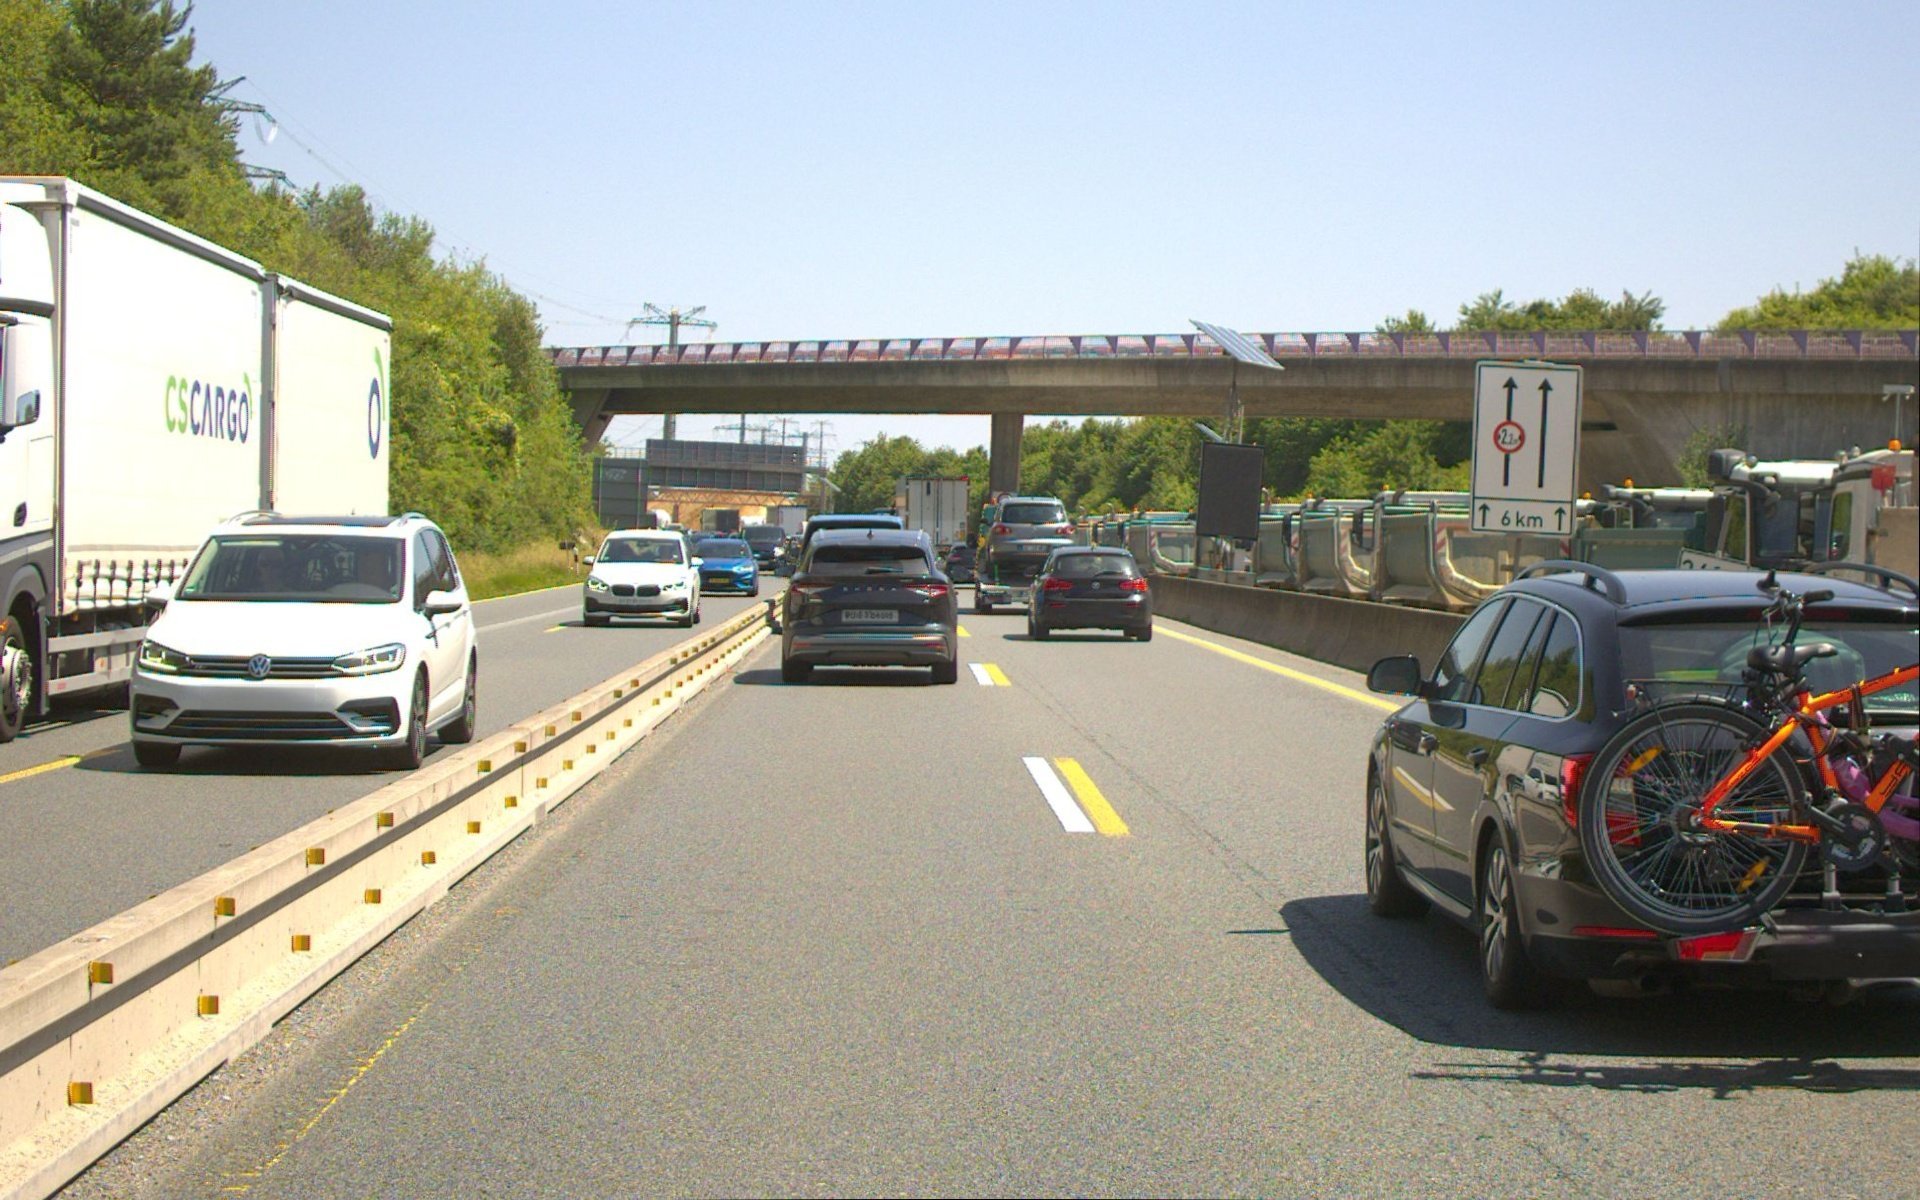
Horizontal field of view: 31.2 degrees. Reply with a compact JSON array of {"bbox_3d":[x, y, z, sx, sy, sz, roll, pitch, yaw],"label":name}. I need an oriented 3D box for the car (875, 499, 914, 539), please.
[{"bbox_3d":[-3.358,-4.153,177.229,1.899,1.962,4.276,1,1,-1],"label":"car"}]

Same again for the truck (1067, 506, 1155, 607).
[{"bbox_3d":[5.997,-1.774,137.731,2.687,3.830,9.326,1,1,-2],"label":"truck"}]

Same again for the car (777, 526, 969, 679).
[{"bbox_3d":[-0.902,-0.010,36.811,1.899,1.500,4.276,1,1,-1],"label":"car"}]

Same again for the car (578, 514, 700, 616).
[{"bbox_3d":[-5.378,-0.595,58.007,1.762,1.626,4.297,1,1,-2],"label":"car"}]

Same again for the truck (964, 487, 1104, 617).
[{"bbox_3d":[1.476,-1.057,72.257,2.405,2.549,7.501,1,1,-2],"label":"truck"}]

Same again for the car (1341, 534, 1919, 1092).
[{"bbox_3d":[2.571,0.556,11.751,1.899,1.485,4.948,1,1,-1],"label":"car"}]

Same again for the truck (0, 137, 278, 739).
[{"bbox_3d":[-7.676,-1.193,27.704,2.409,3.978,10.353,2,1,-1],"label":"truck"}]

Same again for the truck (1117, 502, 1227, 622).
[{"bbox_3d":[6.934,-1.285,113.675,2.687,3.748,9.326,1,1,-2],"label":"truck"}]

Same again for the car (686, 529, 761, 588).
[{"bbox_3d":[-5.959,-1.041,86.867,1.712,1.420,4.171,1,1,-2],"label":"car"}]

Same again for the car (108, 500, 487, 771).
[{"bbox_3d":[-4.339,0.191,23.112,1.824,1.625,4.151,1,1,-2],"label":"car"}]

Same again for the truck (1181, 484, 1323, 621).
[{"bbox_3d":[7.968,-1.339,94.959,2.687,3.545,9.326,1,1,-2],"label":"truck"}]

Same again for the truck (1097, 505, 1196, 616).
[{"bbox_3d":[6.734,-1.476,125.153,2.687,3.842,9.326,1,1,-2],"label":"truck"}]

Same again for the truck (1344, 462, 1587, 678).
[{"bbox_3d":[8.992,-0.598,62.307,2.687,3.545,9.604,1,1,-1],"label":"truck"}]

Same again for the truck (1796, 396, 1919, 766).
[{"bbox_3d":[10.341,-0.159,32.527,2.533,3.499,8.945,1,1,-1],"label":"truck"}]

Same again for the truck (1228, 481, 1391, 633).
[{"bbox_3d":[8.647,-1.112,86.054,2.687,3.545,9.326,1,1,-2],"label":"truck"}]

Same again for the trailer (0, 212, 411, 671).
[{"bbox_3d":[-7.955,-1.601,37.128,2.638,4.298,8.448,2,1,-1],"label":"trailer"}]

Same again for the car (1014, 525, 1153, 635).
[{"bbox_3d":[1.852,-0.328,52.904,1.899,1.580,4.276,1,1,-1],"label":"car"}]

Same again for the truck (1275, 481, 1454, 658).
[{"bbox_3d":[8.664,-0.722,74.695,2.687,3.545,9.407,1,1,0],"label":"truck"}]

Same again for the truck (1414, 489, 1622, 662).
[{"bbox_3d":[11.643,-0.573,72.633,2.687,3.366,9.603,1,1,-1],"label":"truck"}]

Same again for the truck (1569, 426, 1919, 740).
[{"bbox_3d":[10.084,-0.282,44.056,2.538,3.545,9.604,1,1,-2],"label":"truck"}]

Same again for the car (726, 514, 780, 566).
[{"bbox_3d":[-8.149,-2.378,135.767,1.890,2.007,4.818,1,1,-1],"label":"car"}]

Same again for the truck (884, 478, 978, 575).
[{"bbox_3d":[-1.266,-3.038,142.448,3.292,3.832,10.111,1,1,-3],"label":"truck"}]

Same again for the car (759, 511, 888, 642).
[{"bbox_3d":[-2.154,-0.397,55.087,1.899,1.962,4.276,1,1,-1],"label":"car"}]

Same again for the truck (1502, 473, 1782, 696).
[{"bbox_3d":[11.773,-0.349,60.363,2.687,3.545,9.604,1,1,-2],"label":"truck"}]
